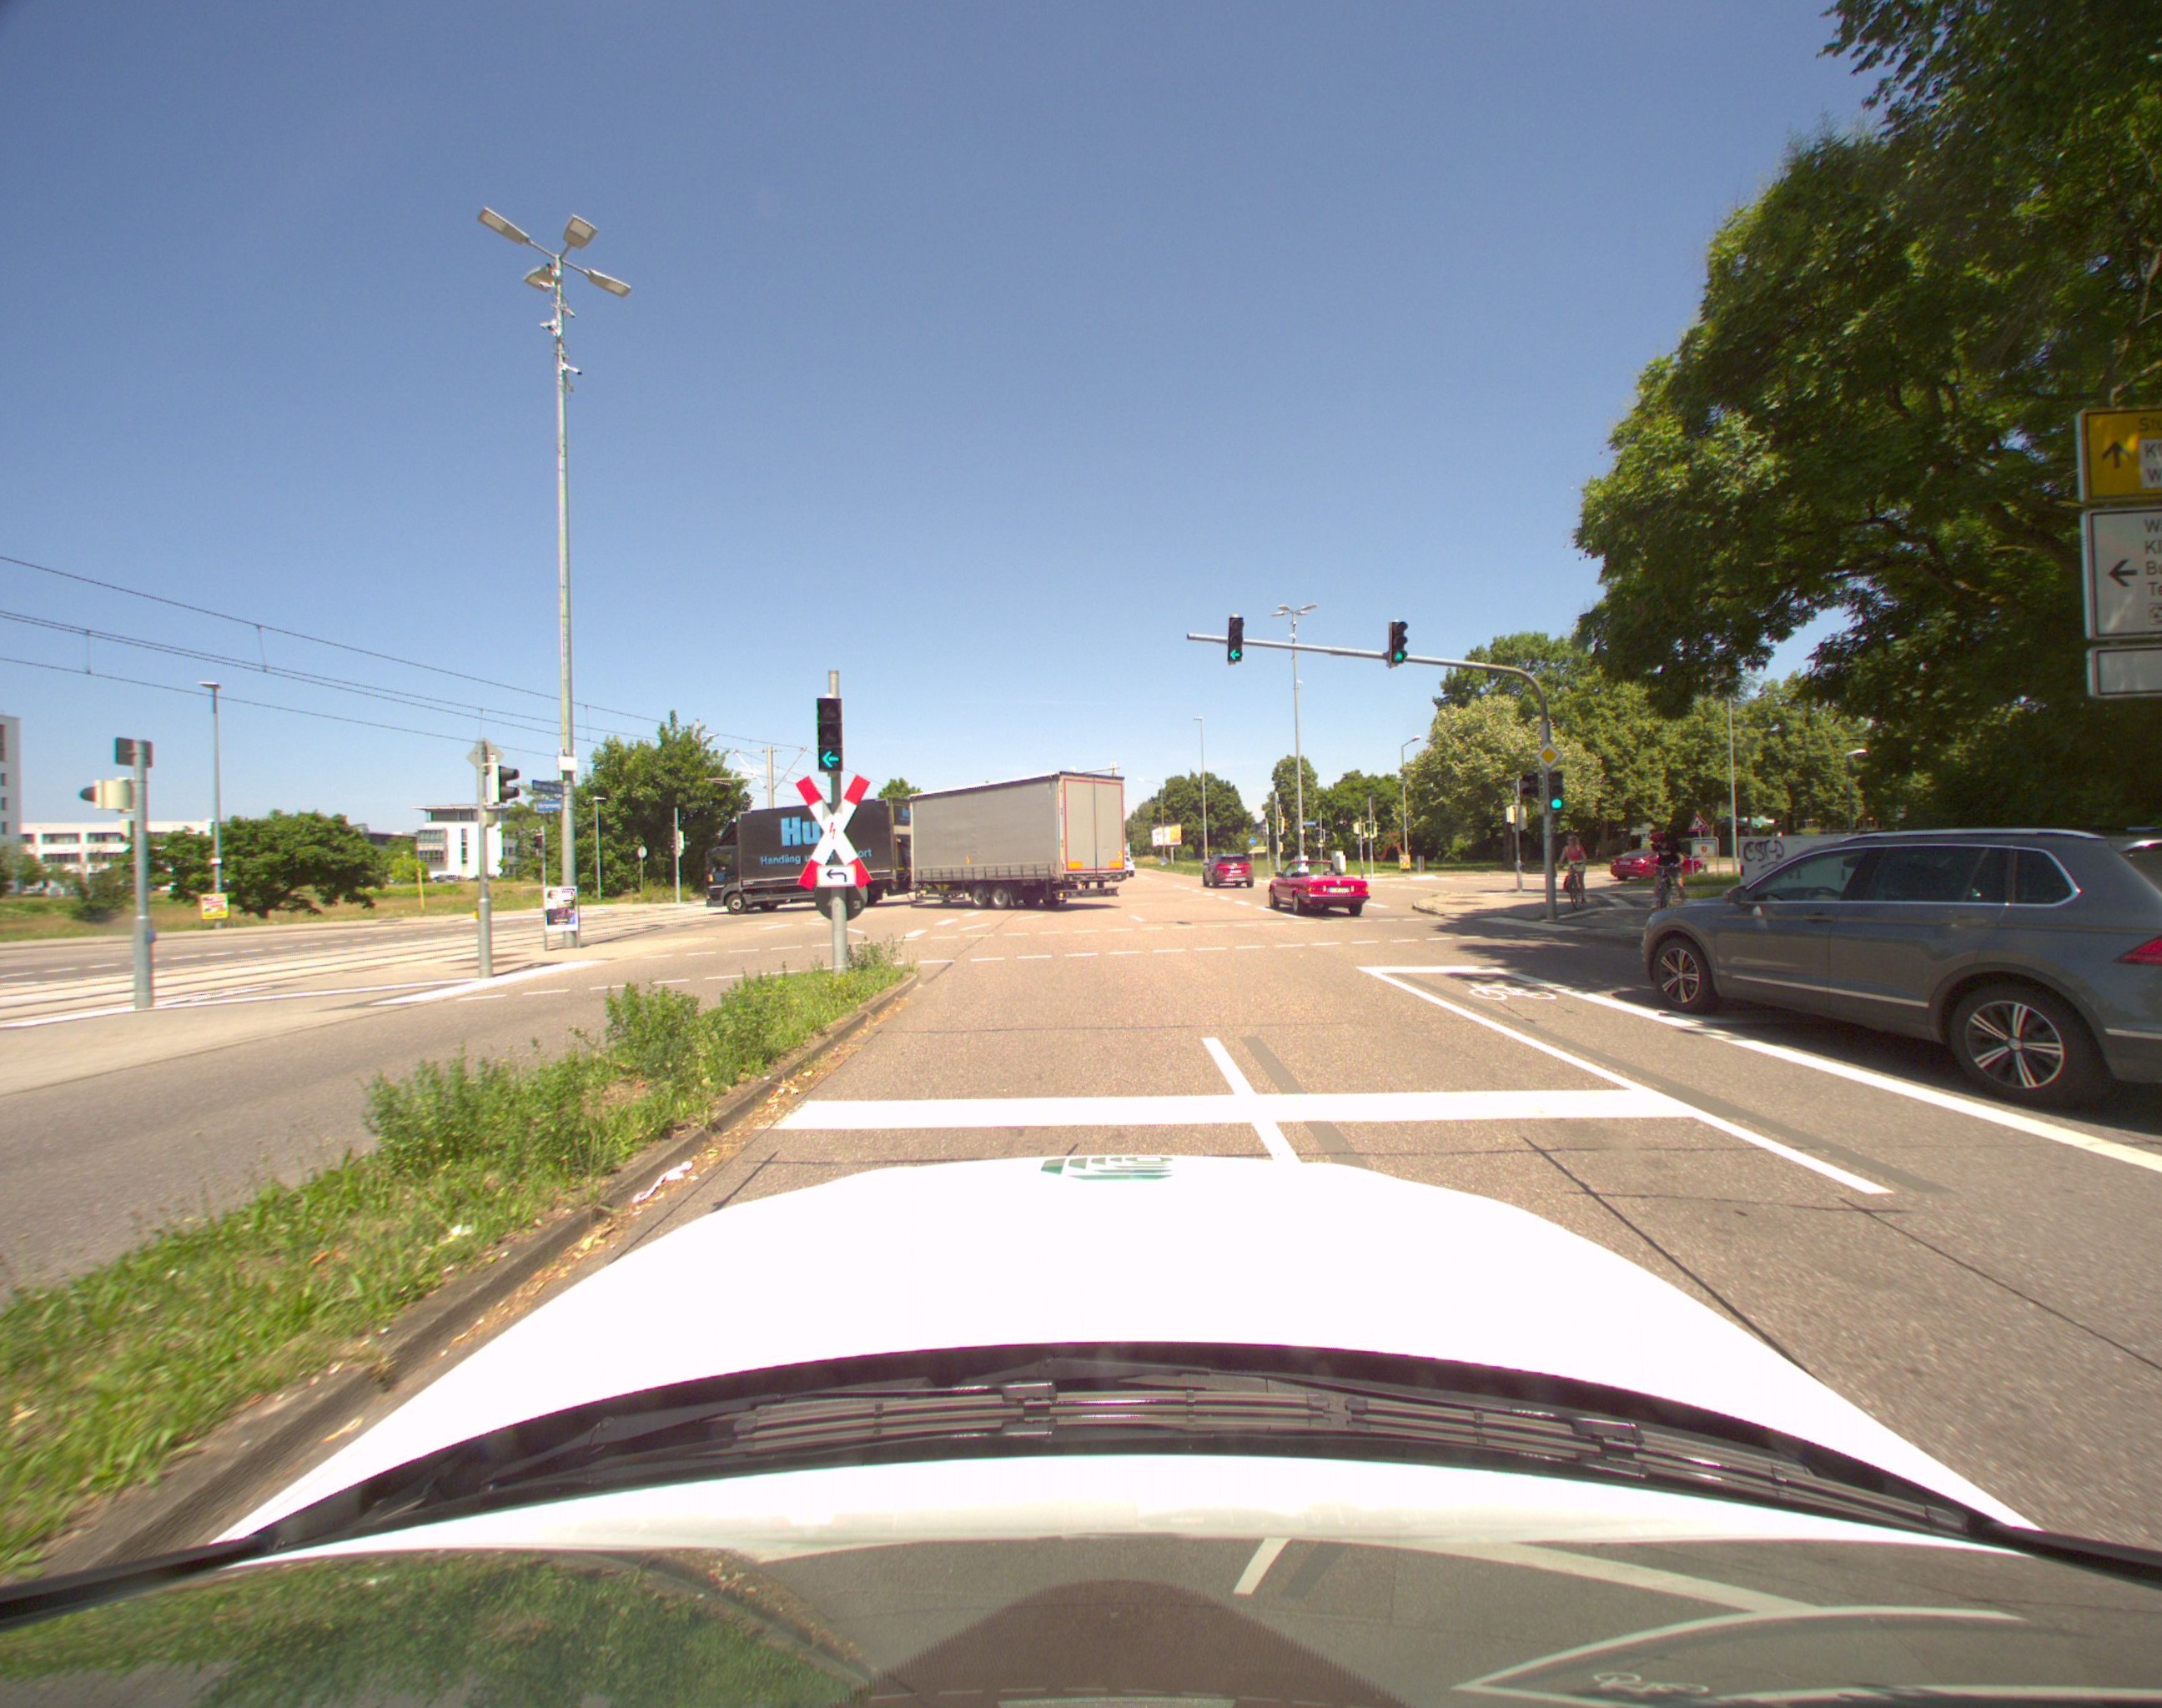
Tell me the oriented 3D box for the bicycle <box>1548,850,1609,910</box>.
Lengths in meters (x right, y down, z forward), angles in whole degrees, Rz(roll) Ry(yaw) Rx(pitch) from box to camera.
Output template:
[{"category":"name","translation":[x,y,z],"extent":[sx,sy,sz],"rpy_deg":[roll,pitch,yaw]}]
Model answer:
[{"category":"bicycle","translation":[11.625,0.572,19.075],"extent":[0.640,1.304,1.631],"rpy_deg":[-4,-1,12]}]

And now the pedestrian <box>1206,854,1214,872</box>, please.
[{"category":"pedestrian","translation":[14.071,0.994,88.819],"extent":[0.740,2.013,0.613],"rpy_deg":[0,0,1]}]

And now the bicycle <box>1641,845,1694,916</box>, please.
[{"category":"bicycle","translation":[11.507,0.501,16.003],"extent":[0.717,1.295,1.313],"rpy_deg":[-5,-1,34]}]

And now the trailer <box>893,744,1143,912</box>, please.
[{"category":"trailer","translation":[-2.295,-0.594,25.423],"extent":[2.852,4.422,8.641],"rpy_deg":[0,-1,-44]}]

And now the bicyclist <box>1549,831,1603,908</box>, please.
[{"category":"bicyclist","translation":[11.629,0.362,19.168],"extent":[0.797,1.727,0.681],"rpy_deg":[-4,-1,12]}]

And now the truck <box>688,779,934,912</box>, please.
[{"category":"truck","translation":[-9.885,-0.194,29.955],"extent":[8.198,4.345,2.846],"rpy_deg":[-2,-2,13]}]

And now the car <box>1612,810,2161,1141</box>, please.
[{"category":"car","translation":[6.249,0.603,6.085],"extent":[1.694,1.654,4.397],"rpy_deg":[0,0,0]}]

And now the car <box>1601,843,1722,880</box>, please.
[{"category":"car","translation":[26.287,0.321,36.900],"extent":[4.492,1.503,1.991],"rpy_deg":[-2,0,-13]}]

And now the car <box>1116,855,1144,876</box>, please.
[{"category":"car","translation":[3.680,0.880,62.179],"extent":[1.852,1.543,4.155],"rpy_deg":[0,0,0]}]

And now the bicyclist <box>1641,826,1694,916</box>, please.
[{"category":"bicyclist","translation":[11.524,0.325,16.019],"extent":[0.717,1.703,0.683],"rpy_deg":[-5,-1,34]}]

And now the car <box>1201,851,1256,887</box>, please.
[{"category":"car","translation":[6.781,0.664,37.752],"extent":[1.852,1.549,3.886],"rpy_deg":[0,0,0]}]

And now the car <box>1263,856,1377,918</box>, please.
[{"category":"car","translation":[5.999,0.762,20.949],"extent":[1.649,1.396,4.266],"rpy_deg":[0,0,0]}]
